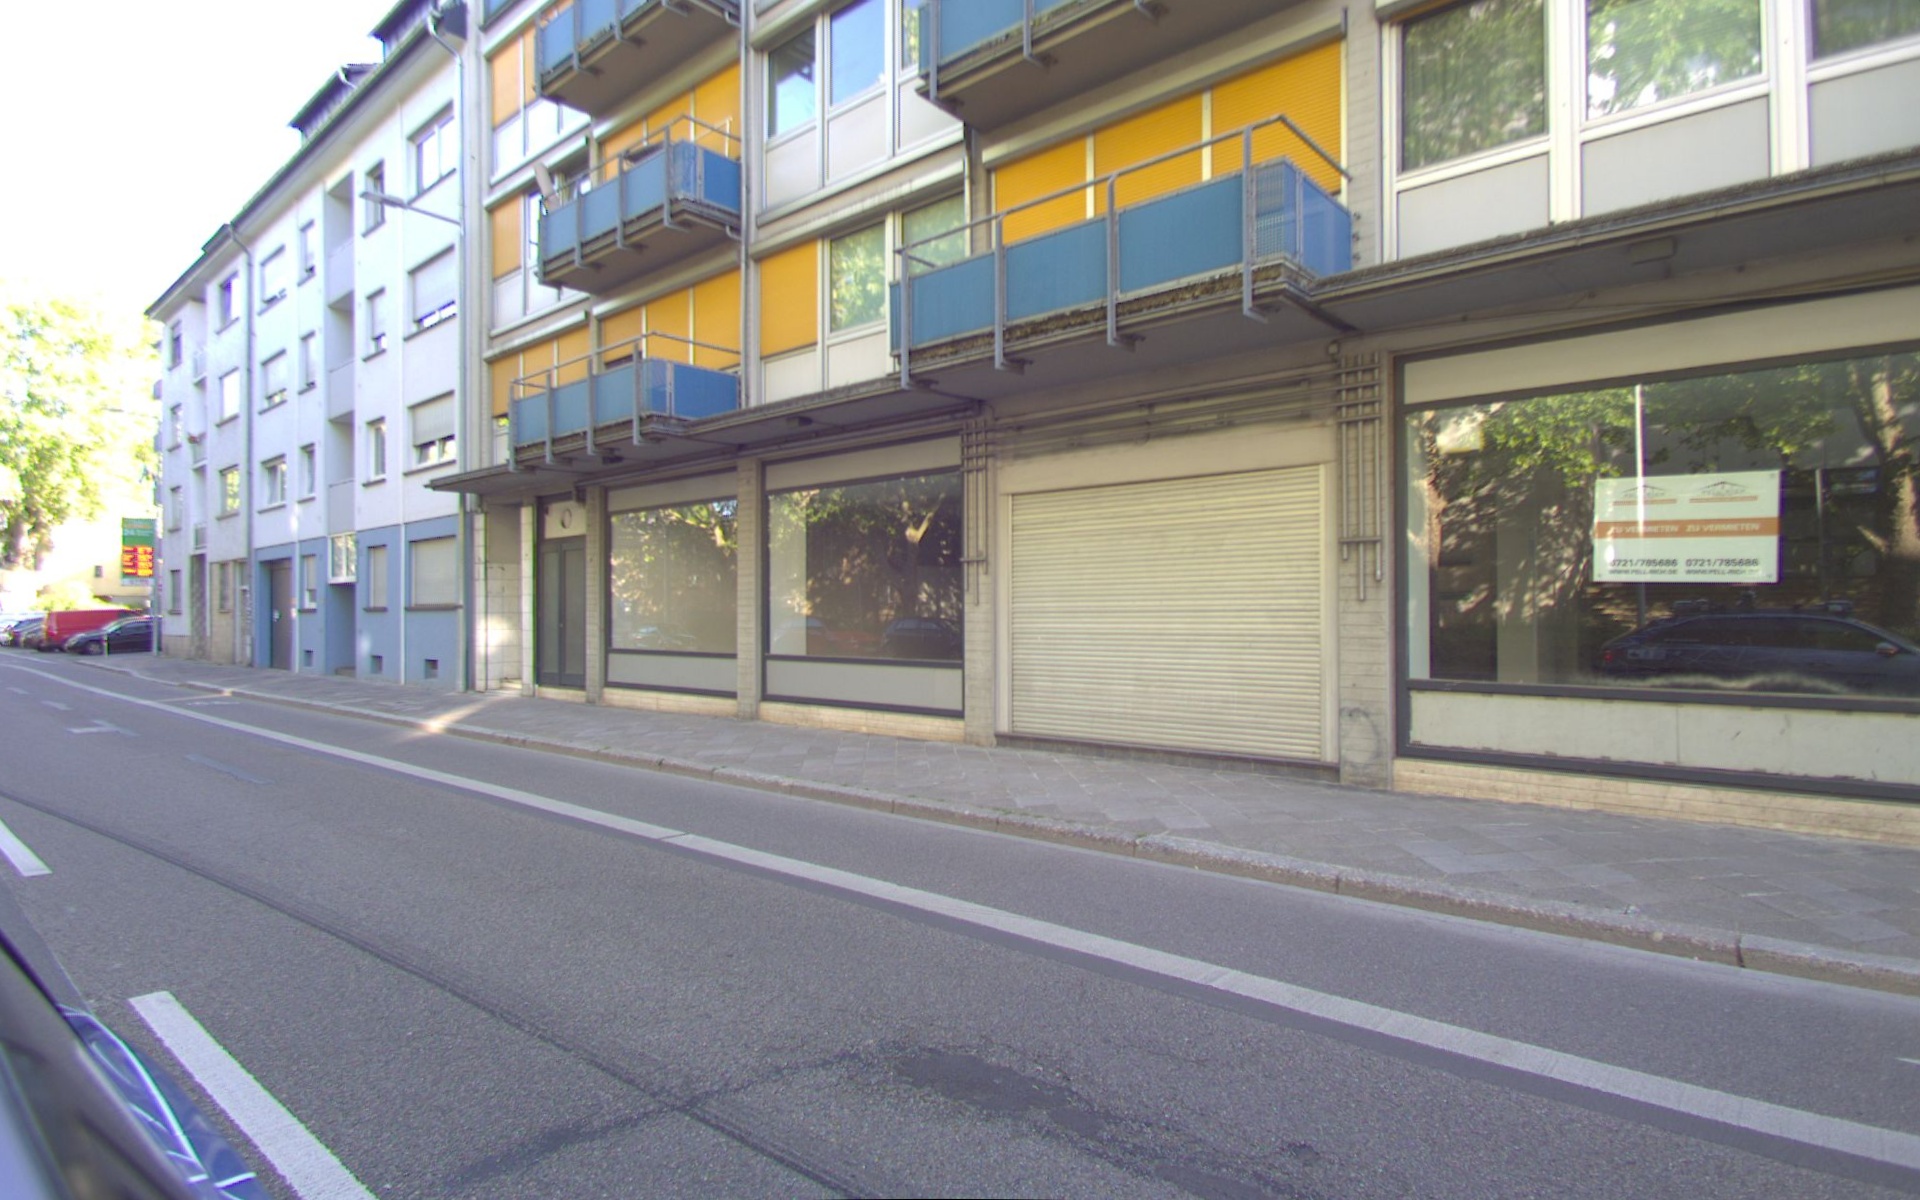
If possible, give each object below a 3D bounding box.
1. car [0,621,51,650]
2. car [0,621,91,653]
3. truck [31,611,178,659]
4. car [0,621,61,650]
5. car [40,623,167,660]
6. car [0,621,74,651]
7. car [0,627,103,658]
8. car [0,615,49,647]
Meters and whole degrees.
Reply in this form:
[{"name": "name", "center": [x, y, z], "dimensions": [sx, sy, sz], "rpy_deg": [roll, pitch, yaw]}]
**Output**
[{"name": "car", "center": [-56.882, 2.126, 60.390], "dimensions": [1.740, 1.600, 3.685], "rpy_deg": [-1, 0, 35]}, {"name": "car", "center": [-50.817, 2.025, 55.965], "dimensions": [1.699, 1.640, 3.952], "rpy_deg": [-1, 0, 35]}, {"name": "truck", "center": [-40.345, 1.586, 47.833], "dimensions": [1.998, 2.036, 5.024], "rpy_deg": [-1, 0, 40]}, {"name": "car", "center": [-55.062, 2.085, 58.998], "dimensions": [1.715, 1.594, 3.660], "rpy_deg": [-1, 0, 35]}, {"name": "car", "center": [-36.943, 1.744, 43.703], "dimensions": [1.780, 1.404, 3.947], "rpy_deg": [-1, 0, 39]}, {"name": "car", "center": [-52.878, 2.041, 57.469], "dimensions": [1.656, 1.599, 3.615], "rpy_deg": [-1, 0, 35]}, {"name": "car", "center": [-43.584, 1.999, 48.157], "dimensions": [1.904, 1.282, 3.983], "rpy_deg": [-1, 0, 39]}, {"name": "car", "center": [-59.740, 1.972, 63.819], "dimensions": [1.693, 1.953, 3.224], "rpy_deg": [-1, 0, 43]}]
